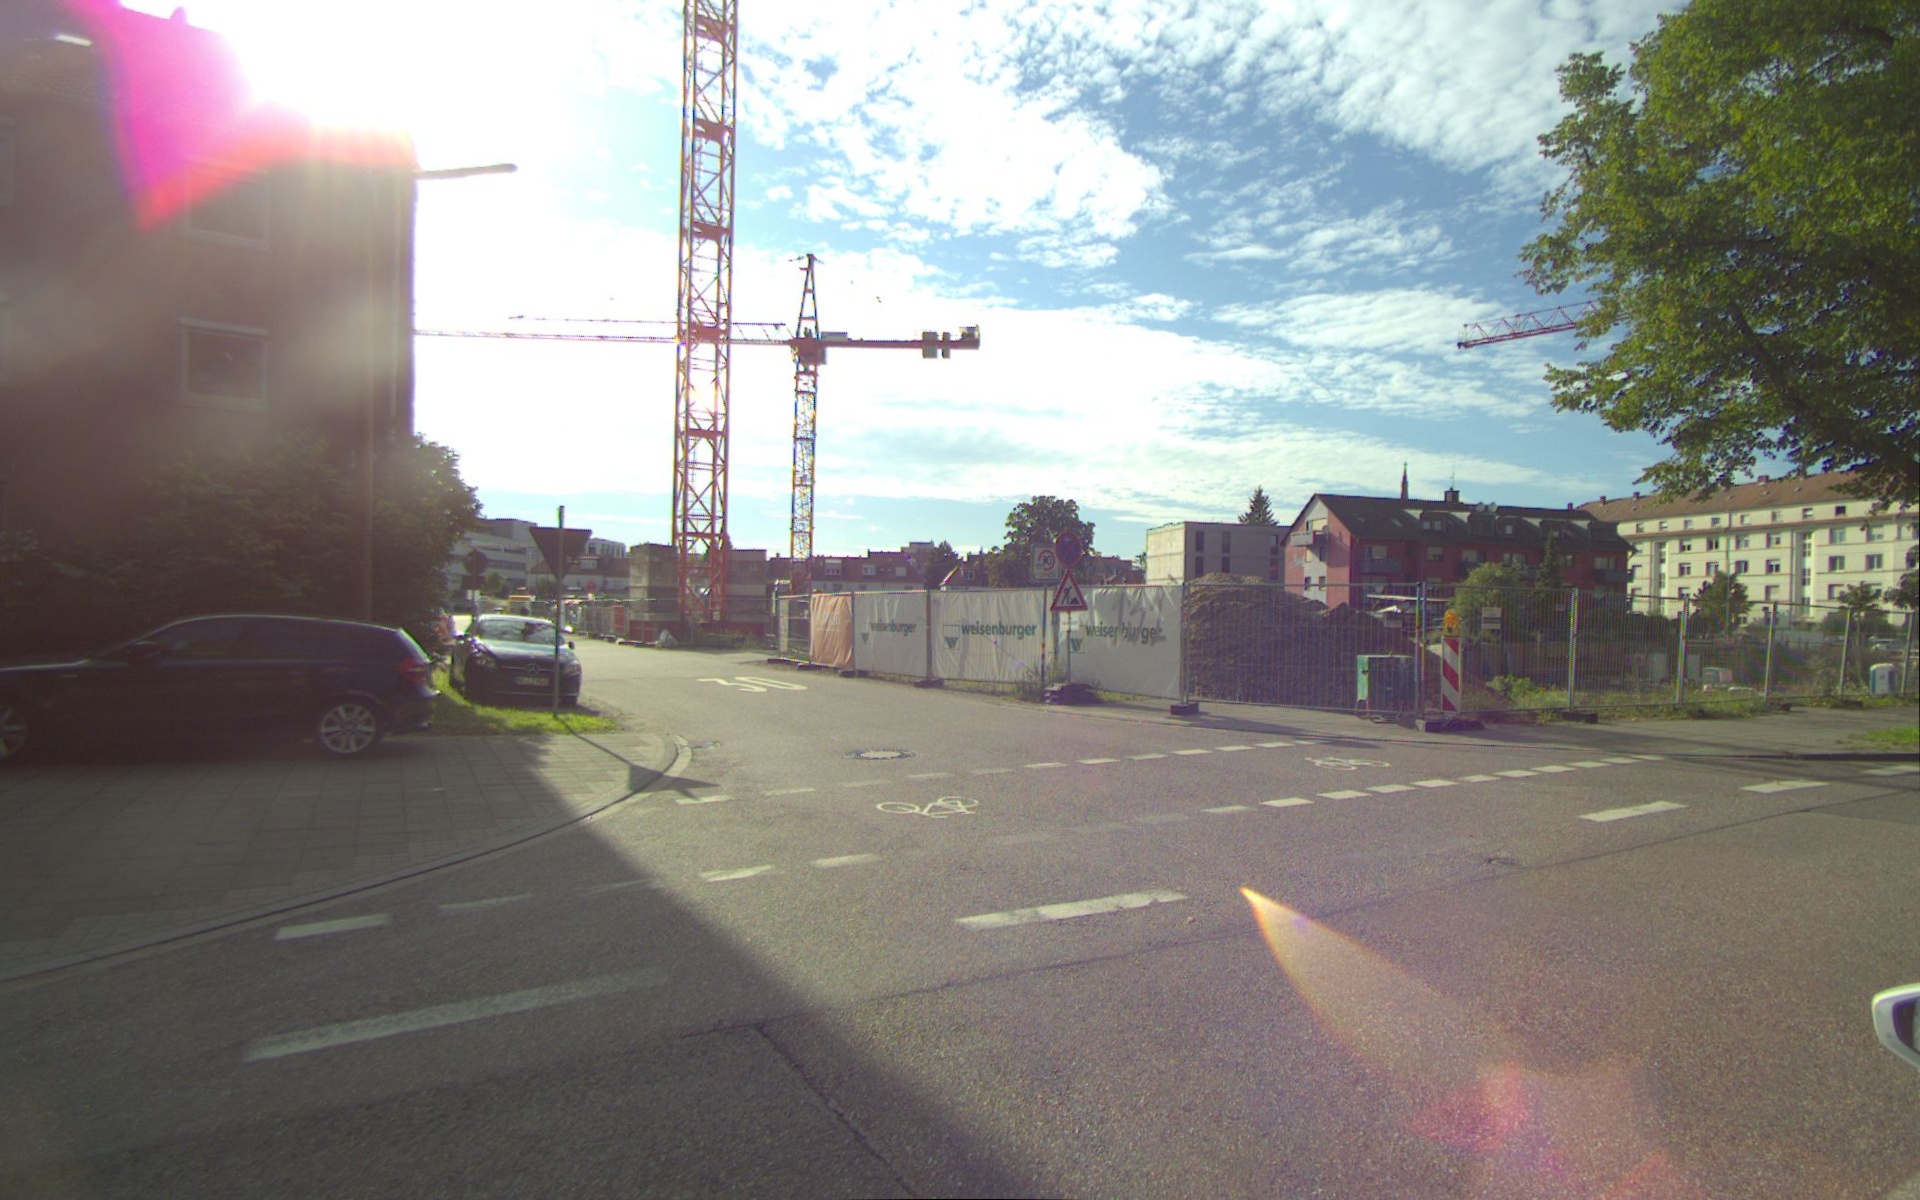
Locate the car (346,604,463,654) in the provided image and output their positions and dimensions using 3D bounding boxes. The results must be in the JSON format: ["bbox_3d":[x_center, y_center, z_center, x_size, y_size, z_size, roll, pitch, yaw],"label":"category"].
[{"bbox_3d":[-22.699,1.200,41.105,3.948,1.831,1.799,4,-1,-36],"label":"car"}]

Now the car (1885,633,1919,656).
[{"bbox_3d":[87.170,4.093,91.880,3.934,2.040,1.994,1,-1,-16],"label":"car"}]

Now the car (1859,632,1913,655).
[{"bbox_3d":[87.125,4.060,94.468,3.934,2.040,1.994,1,-1,-16],"label":"car"}]

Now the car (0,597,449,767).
[{"bbox_3d":[-7.659,0.769,10.039,4.453,1.447,1.985,3,-2,-29],"label":"car"}]

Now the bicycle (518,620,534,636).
[{"bbox_3d":[-29.838,1.932,69.066,0.732,1.095,2.414,1,-1,-31],"label":"bicycle"}]

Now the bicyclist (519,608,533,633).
[{"bbox_3d":[-29.817,1.409,69.056,0.731,1.682,1.120,1,-1,-31],"label":"bicyclist"}]

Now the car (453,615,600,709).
[{"bbox_3d":[-7.685,1.032,17.595,1.976,1.321,3.972,7,-4,-27],"label":"car"}]
